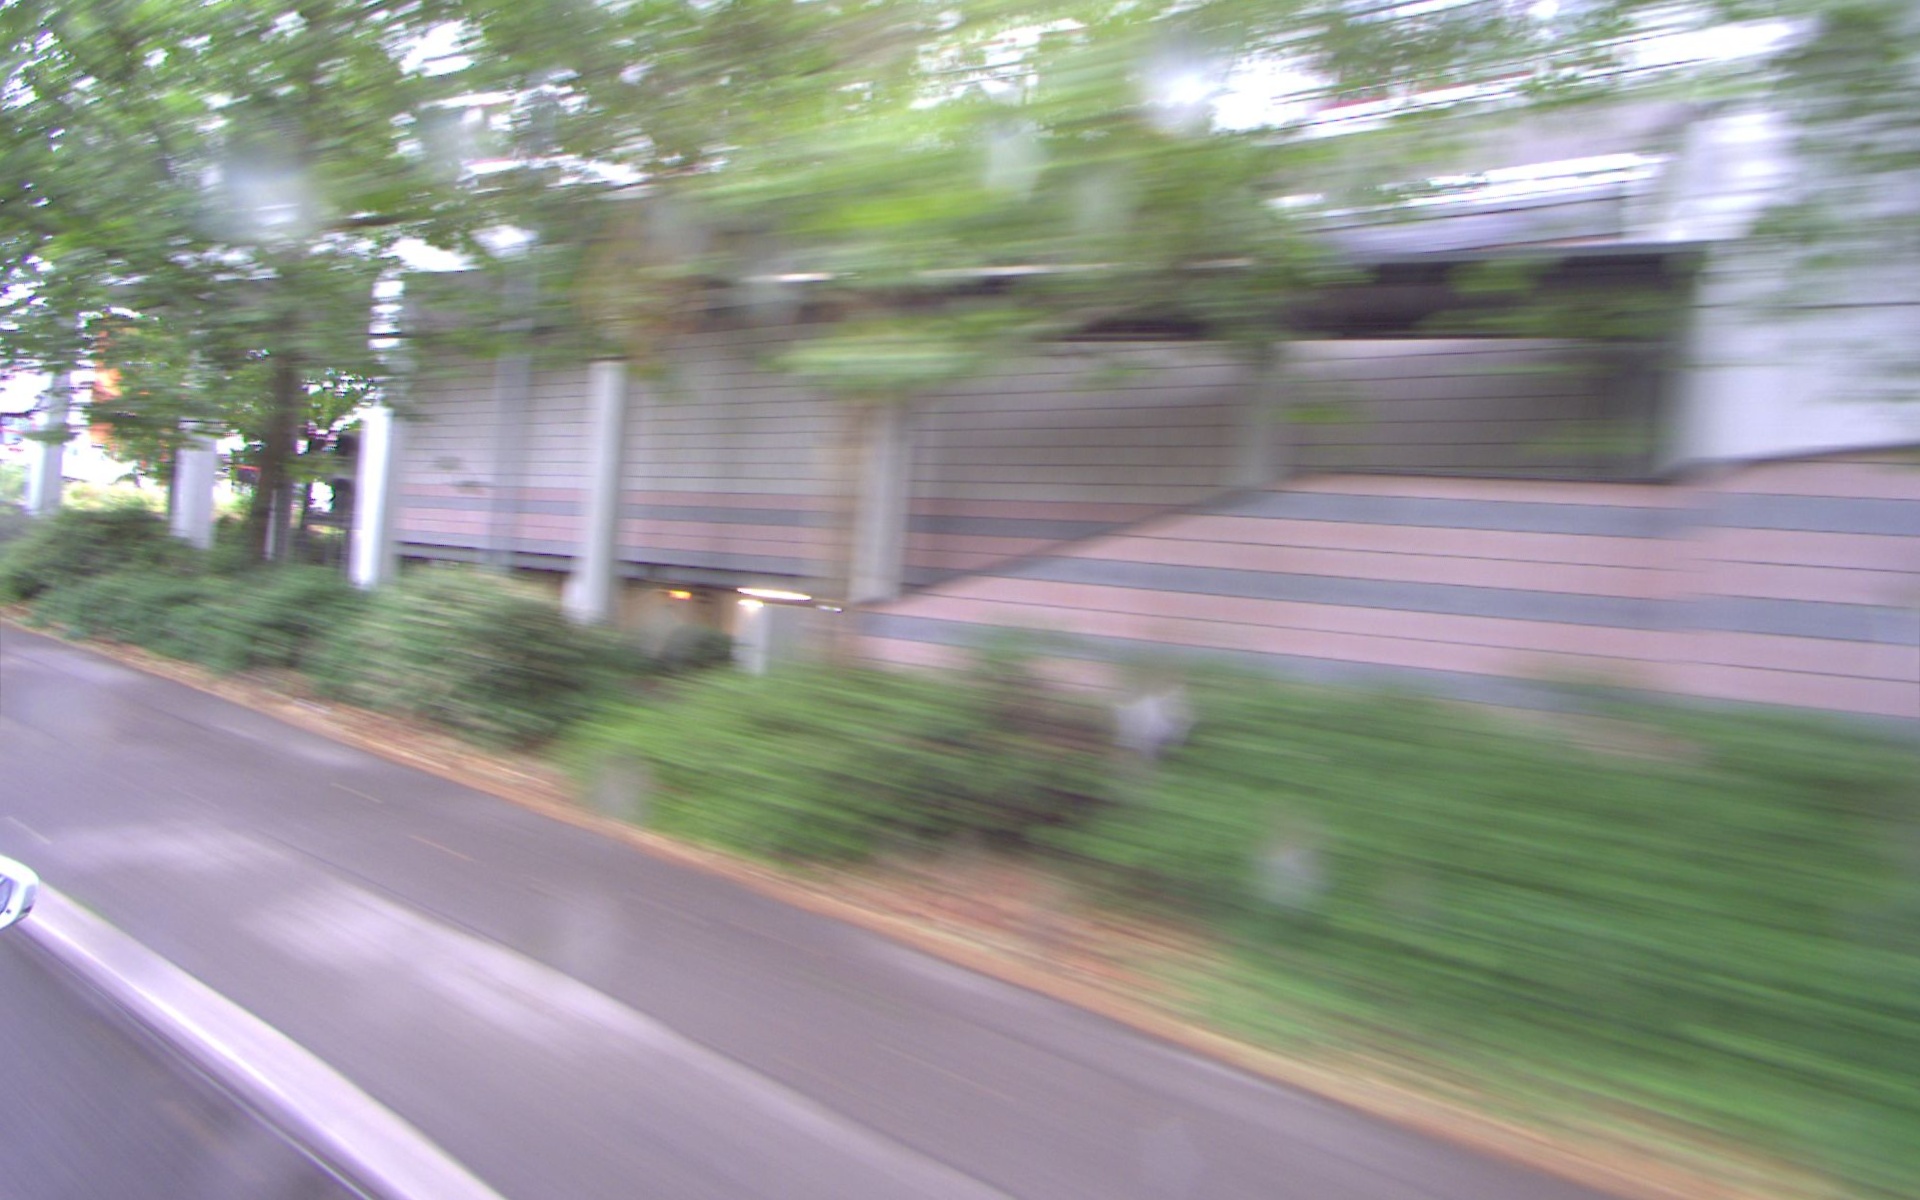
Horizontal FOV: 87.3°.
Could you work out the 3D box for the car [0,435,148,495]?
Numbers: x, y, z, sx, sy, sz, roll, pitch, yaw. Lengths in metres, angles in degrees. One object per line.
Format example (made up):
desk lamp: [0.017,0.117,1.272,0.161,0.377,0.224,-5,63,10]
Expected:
car: [-33.507,-5.046,37.868,1.871,1.392,4.108,7,-2,31]

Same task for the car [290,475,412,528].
car: [-29.971,-4.832,49.670,1.882,1.805,4.778,7,0,28]
